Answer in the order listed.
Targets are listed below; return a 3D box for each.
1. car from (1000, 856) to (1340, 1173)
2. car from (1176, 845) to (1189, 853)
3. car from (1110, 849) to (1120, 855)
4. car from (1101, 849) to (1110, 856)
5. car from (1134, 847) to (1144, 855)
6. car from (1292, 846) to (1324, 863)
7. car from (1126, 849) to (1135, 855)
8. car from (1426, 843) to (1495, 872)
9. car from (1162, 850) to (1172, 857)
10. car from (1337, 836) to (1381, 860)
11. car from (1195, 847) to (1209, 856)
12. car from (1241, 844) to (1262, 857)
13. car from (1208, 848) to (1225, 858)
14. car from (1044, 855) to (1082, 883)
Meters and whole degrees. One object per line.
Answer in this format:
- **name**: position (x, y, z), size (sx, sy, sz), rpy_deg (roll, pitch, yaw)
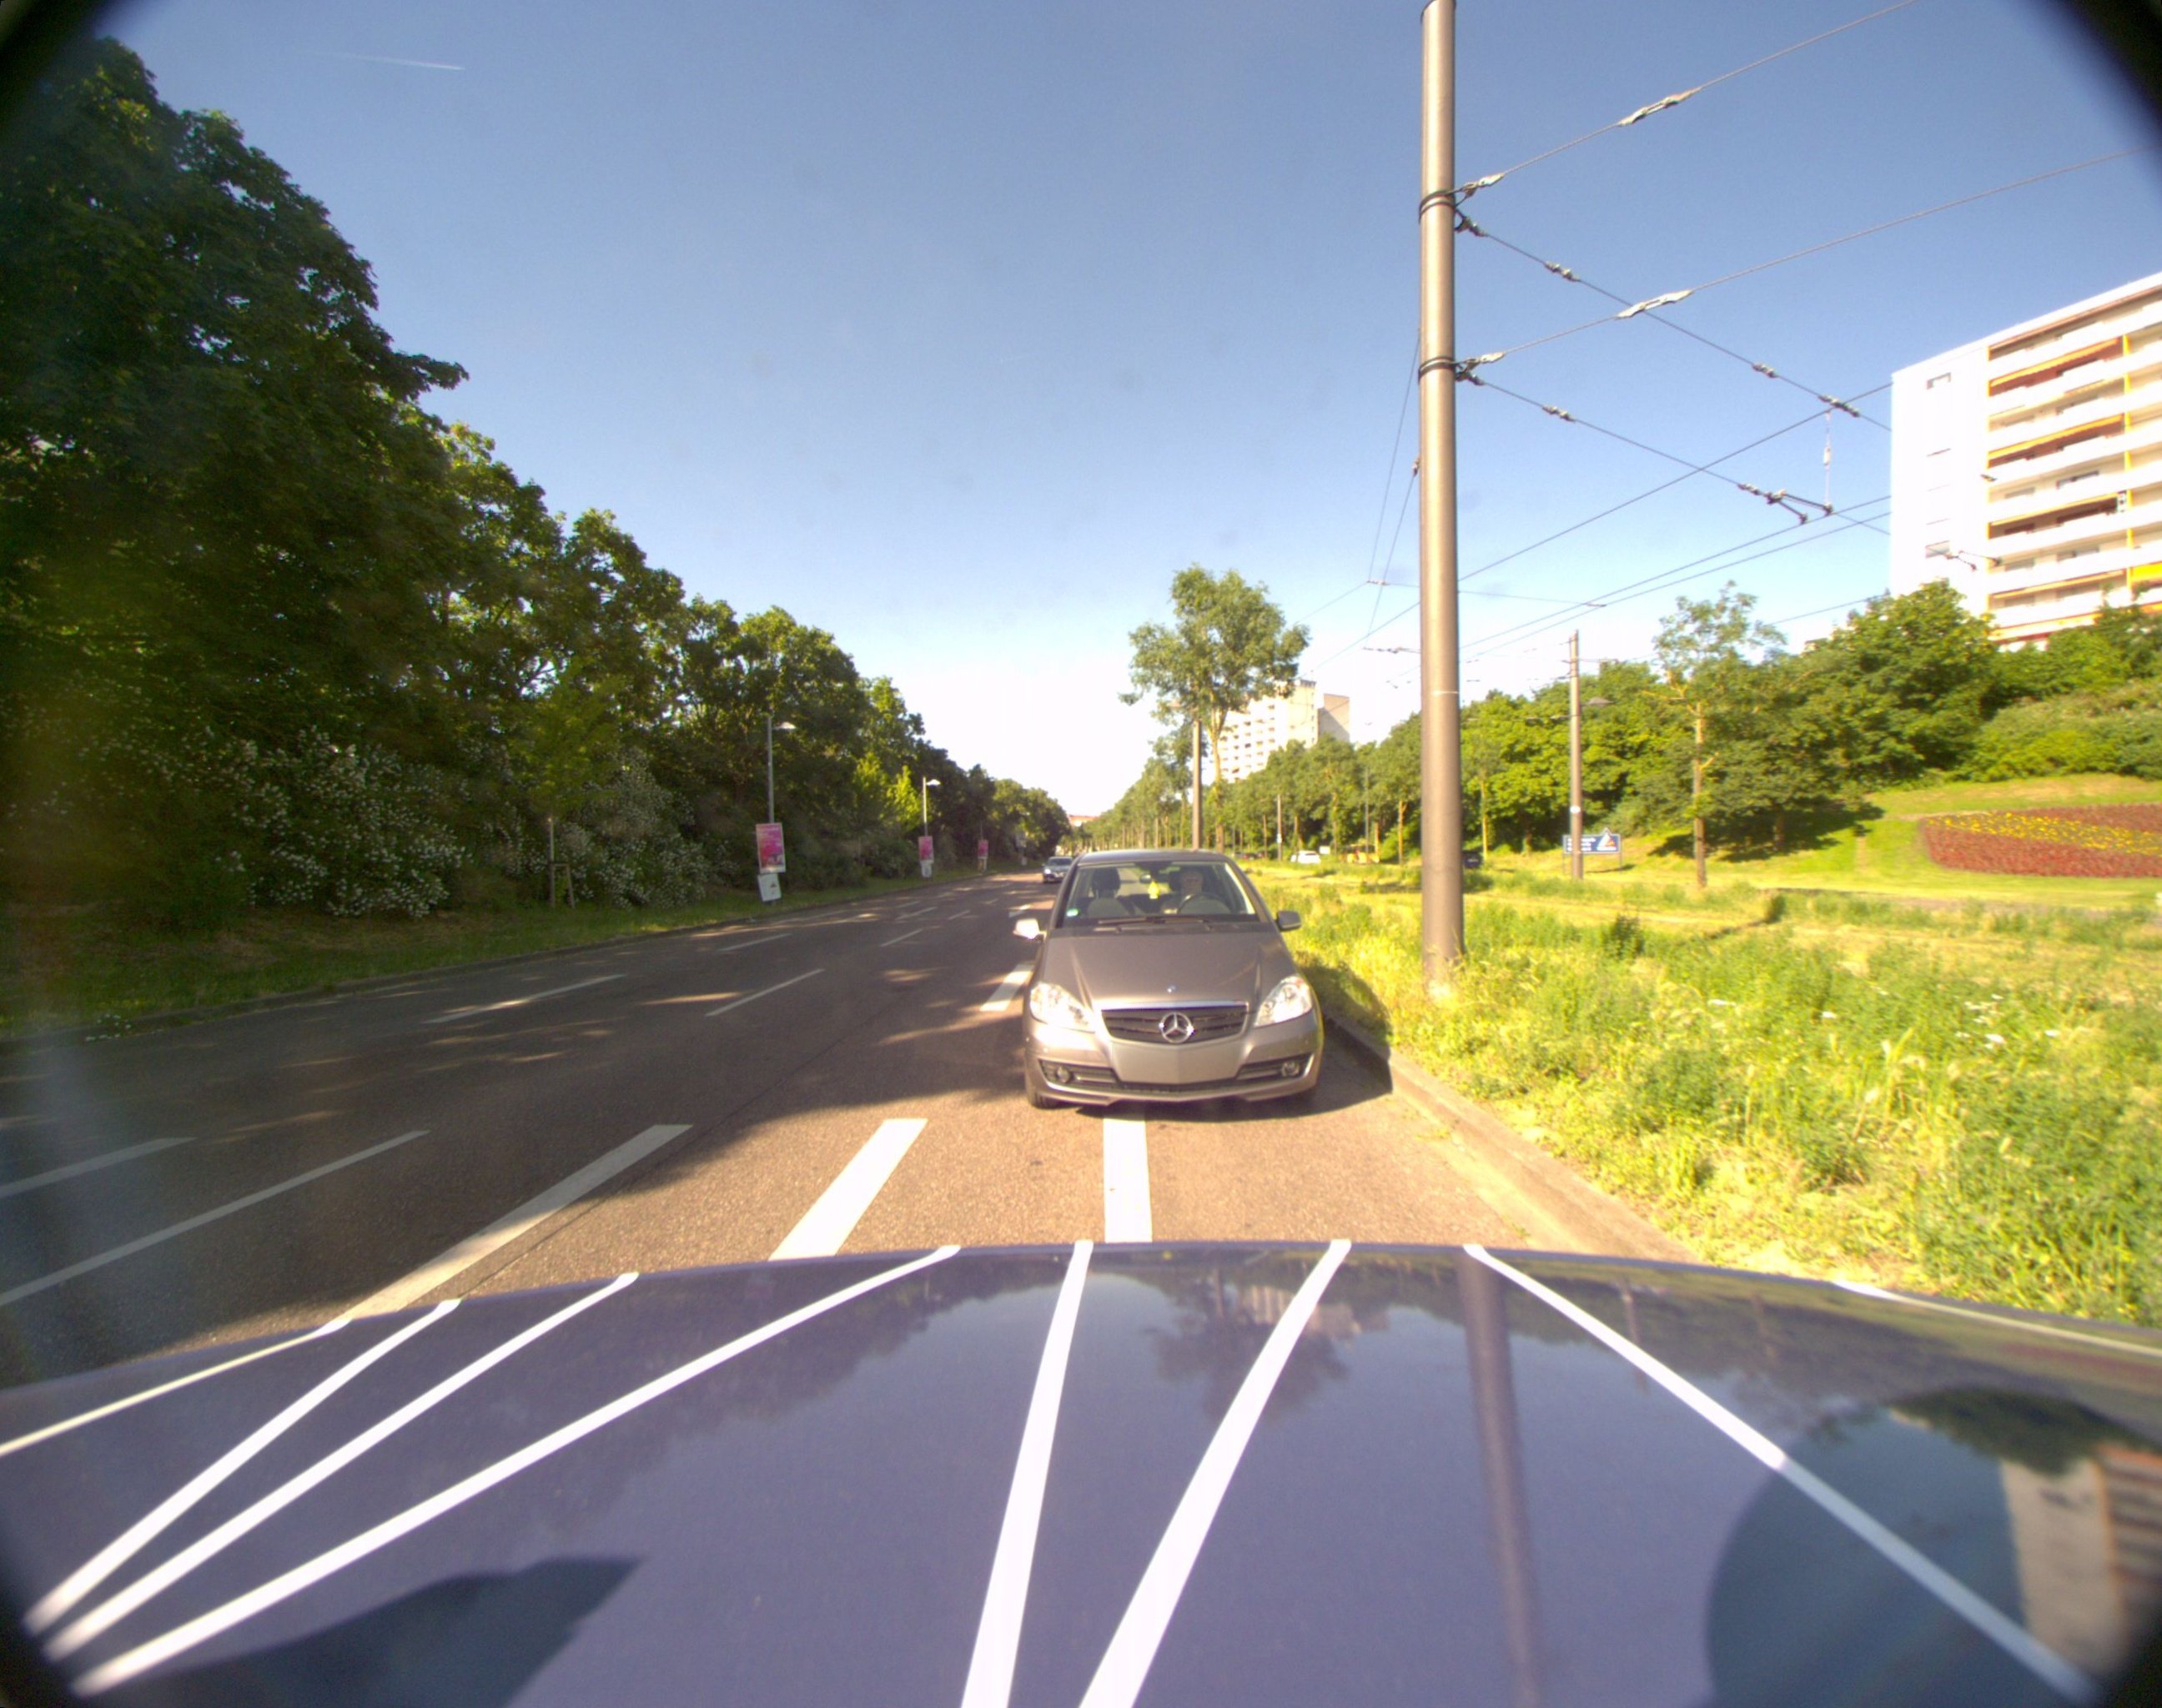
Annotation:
- **car**: position (0.494, 0.853, 5.927), size (1.759, 1.612, 3.880), rpy_deg (-1, 0, 1)
- **car**: position (19.871, -0.945, 148.518), size (1.998, 1.477, 4.000), rpy_deg (-1, 0, 1)
- **car**: position (10.105, -0.633, 225.757), size (1.911, 1.652, 3.995), rpy_deg (-1, 0, -14)
- **car**: position (7.680, -0.514, 236.822), size (2.000, 2.002, 3.996), rpy_deg (-1, 0, -11)
- **car**: position (13.942, -0.767, 182.901), size (1.883, 1.755, 3.998), rpy_deg (-1, 0, -4)
- **car**: position (19.703, 0.016, 66.154), size (1.693, 1.399, 4.021), rpy_deg (-1, 0, 1)
- **car**: position (13.843, -0.623, 212.279), size (1.910, 1.652, 3.997), rpy_deg (-1, 0, -8)
- **car**: position (22.243, 0.179, 44.750), size (1.998, 1.565, 4.107), rpy_deg (-2, 0, 1)
- **car**: position (18.842, -0.132, 166.979), size (1.802, 1.455, 4.000), rpy_deg (-1, 0, 1)
- **car**: position (23.078, -0.487, 63.274), size (1.998, 1.955, 4.907), rpy_deg (-1, 0, 1)
- **car**: position (19.850, -0.435, 125.203), size (1.825, 1.353, 4.230), rpy_deg (-1, 0, 3)
- **car**: position (19.911, -0.441, 88.874), size (1.798, 1.408, 4.312), rpy_deg (-2, 0, 6)
- **car**: position (19.530, -0.164, 109.573), size (1.867, 1.410, 4.000), rpy_deg (-1, 0, 3)
- **car**: position (-0.958, 0.823, 43.126), size (1.876, 1.428, 4.594), rpy_deg (-1, 0, 2)
